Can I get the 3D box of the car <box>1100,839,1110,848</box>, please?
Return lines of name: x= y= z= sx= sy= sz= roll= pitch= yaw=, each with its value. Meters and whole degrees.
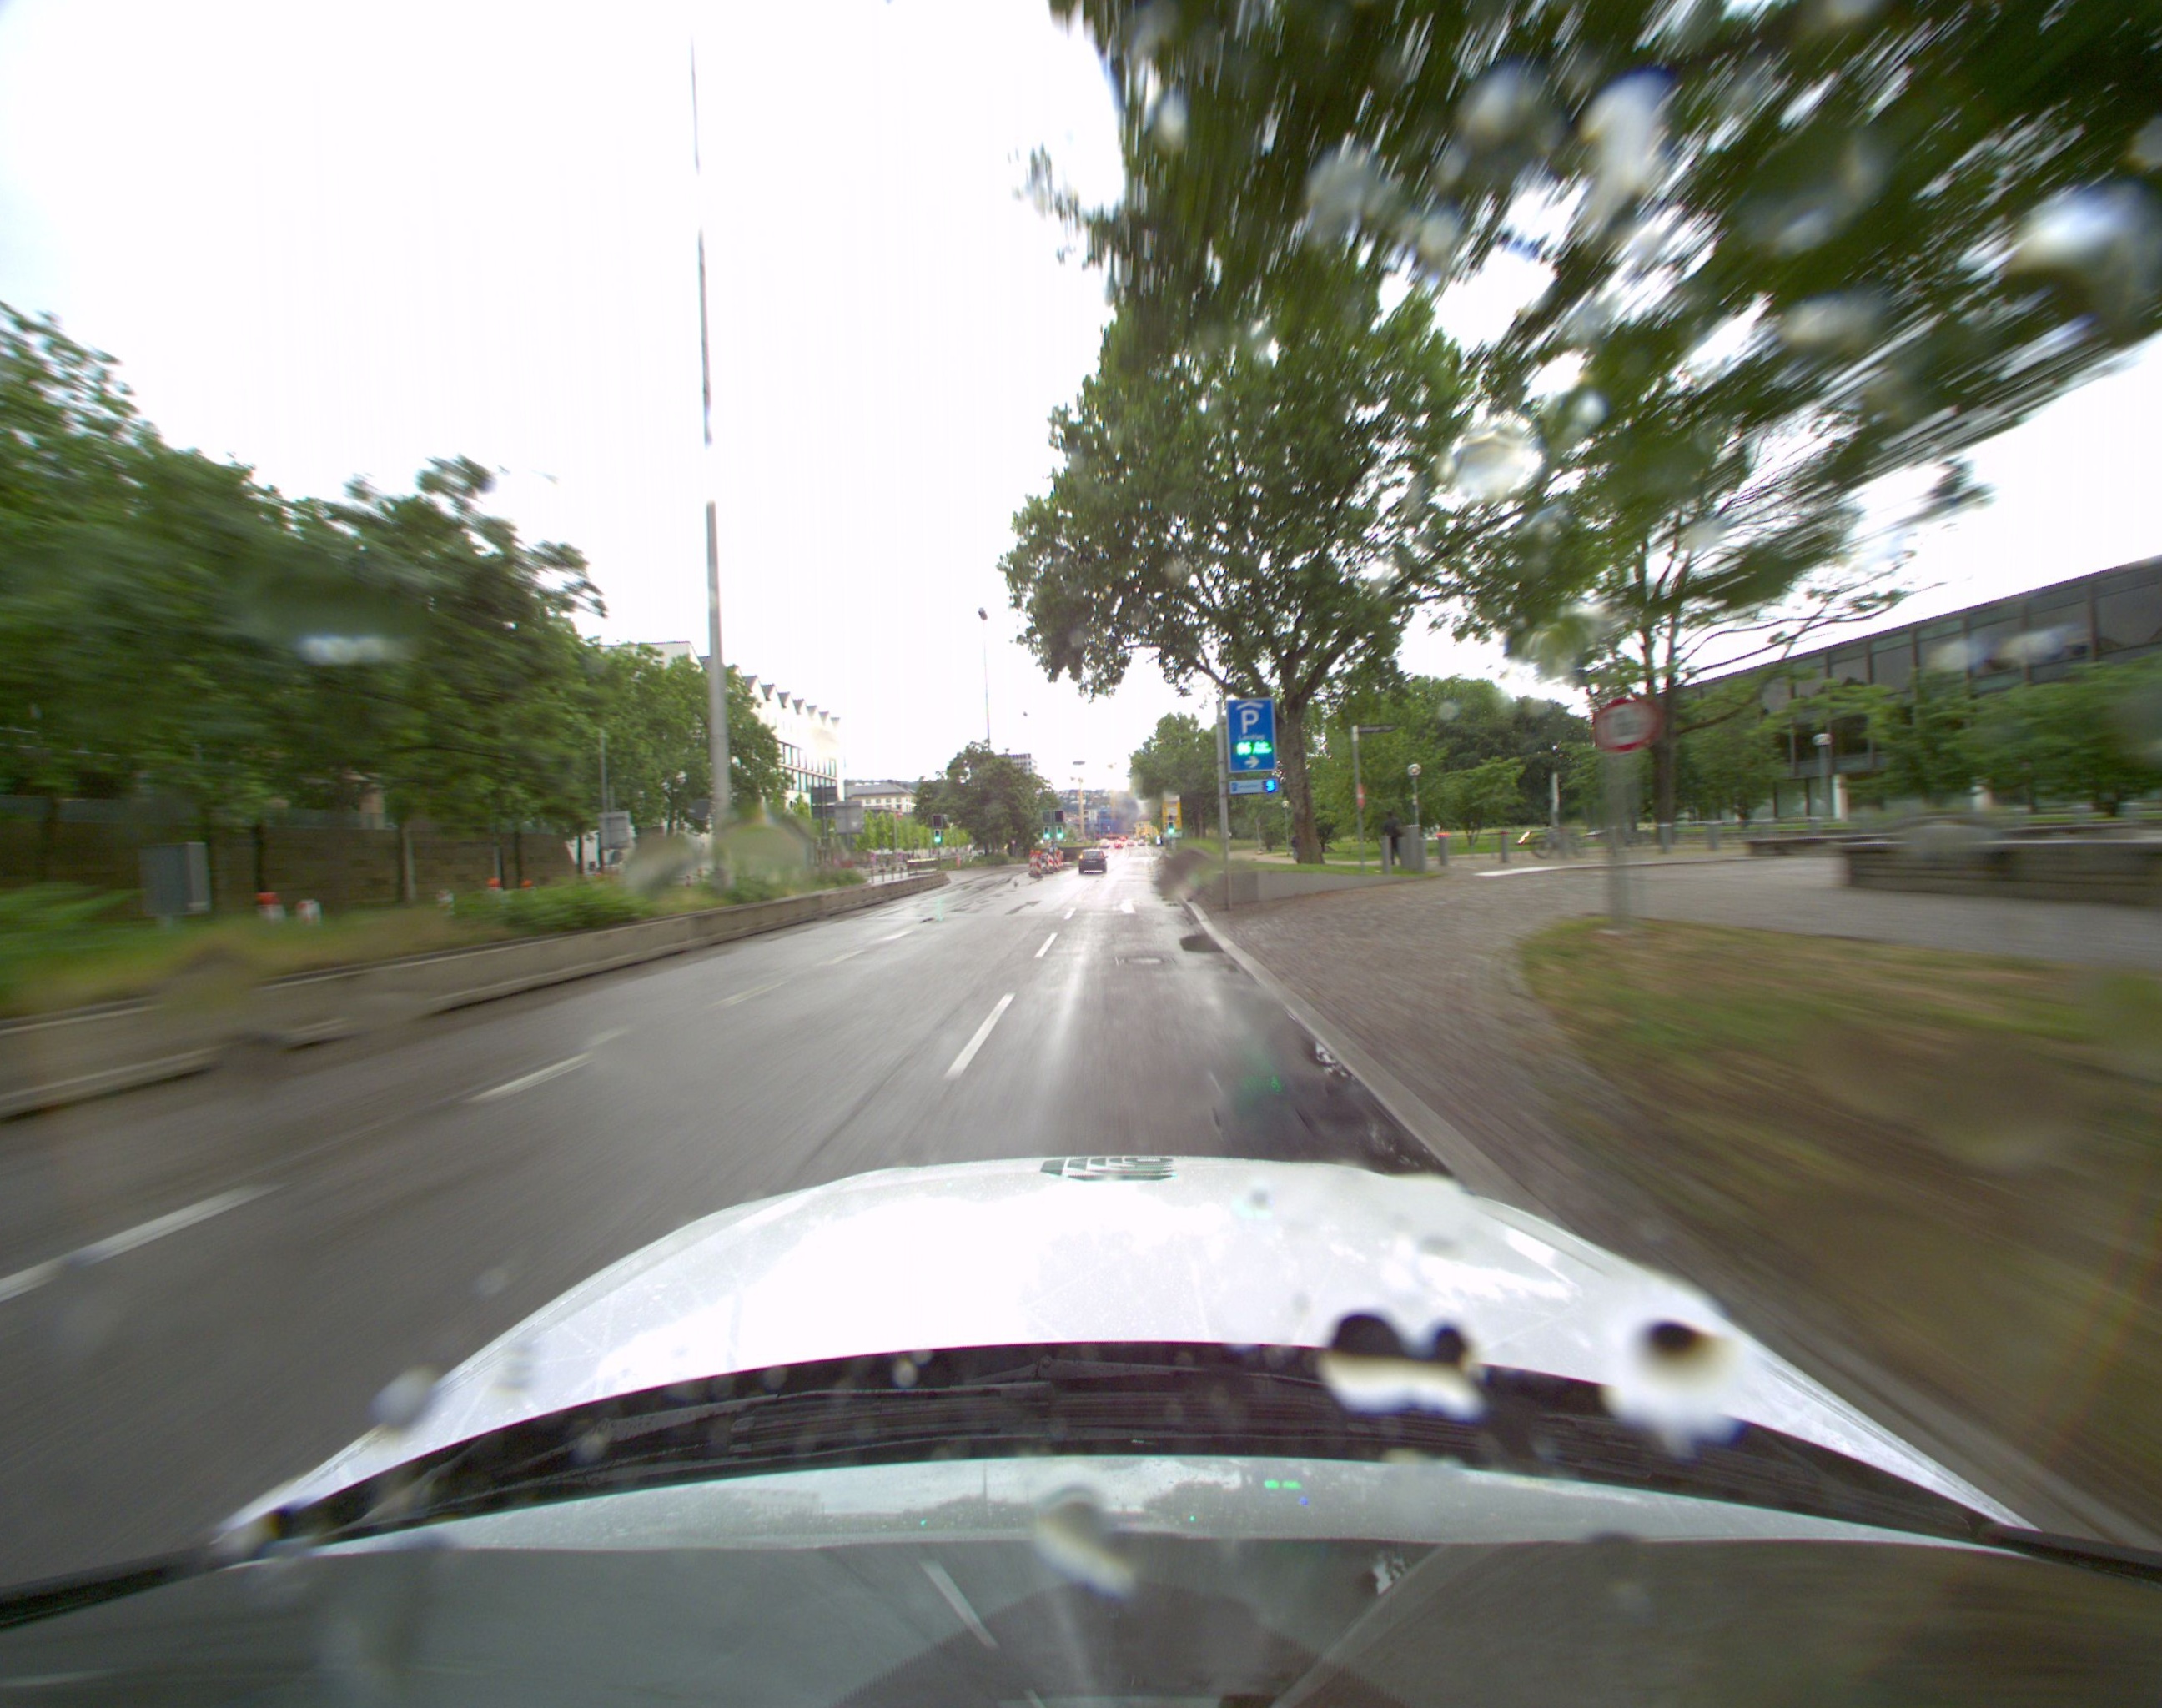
car: x=6.250 y=-2.702 z=212.628 sx=2.208 sy=2.014 sz=4.008 roll=-3 pitch=-1 yaw=7

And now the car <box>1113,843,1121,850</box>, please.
car: x=10.369 y=-2.271 z=236.270 sx=1.985 sy=1.782 sz=4.004 roll=-4 pitch=-1 yaw=4

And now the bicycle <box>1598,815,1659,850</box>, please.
bicycle: x=18.966 y=-0.742 z=28.243 sx=1.638 sy=1.085 sz=0.708 roll=-3 pitch=1 yaw=-4

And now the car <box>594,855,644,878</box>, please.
car: x=-47.594 y=1.287 z=83.958 sx=3.966 sy=2.012 sz=2.005 roll=2 pitch=5 yaw=7

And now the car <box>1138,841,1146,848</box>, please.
car: x=17.288 y=-2.687 z=231.266 sx=1.984 sy=1.599 sz=4.005 roll=-4 pitch=-1 yaw=5

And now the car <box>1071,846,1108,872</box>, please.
car: x=0.499 y=0.317 z=50.691 sx=1.841 sy=1.416 sz=3.831 roll=-4 pitch=-1 yaw=-5

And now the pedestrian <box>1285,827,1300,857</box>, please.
pedestrian: x=12.565 y=-0.701 z=48.443 sx=0.593 sy=1.755 sz=0.725 roll=-4 pitch=1 yaw=0

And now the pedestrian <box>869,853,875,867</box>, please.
pedestrian: x=-29.941 y=0.878 z=116.737 sx=0.543 sy=2.013 sz=0.525 roll=-3 pitch=-1 yaw=-33

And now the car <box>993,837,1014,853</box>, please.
car: x=-8.491 y=-1.007 z=89.433 sx=1.989 sy=1.632 sz=3.996 roll=-2 pitch=0 yaw=-3

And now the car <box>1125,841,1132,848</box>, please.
car: x=13.716 y=-2.730 z=233.869 sx=1.705 sy=1.690 sz=3.854 roll=-4 pitch=-1 yaw=5

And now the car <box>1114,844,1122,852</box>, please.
car: x=9.225 y=-1.381 z=202.244 sx=1.732 sy=1.771 sz=4.003 roll=-4 pitch=-1 yaw=3

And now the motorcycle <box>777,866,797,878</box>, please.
motorcycle: x=-30.081 y=1.861 z=83.216 sx=1.843 sy=1.154 sz=0.423 roll=-3 pitch=0 yaw=-26

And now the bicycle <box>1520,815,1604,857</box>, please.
bicycle: x=14.607 y=-0.544 z=24.765 sx=2.033 sy=1.173 sz=0.957 roll=-3 pitch=1 yaw=-9

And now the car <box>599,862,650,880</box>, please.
car: x=-46.011 y=1.686 z=82.145 sx=3.975 sy=1.596 sz=1.999 roll=-3 pitch=0 yaw=-1

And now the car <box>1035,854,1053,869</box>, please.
car: x=-5.154 y=1.023 z=113.455 sx=1.985 sy=1.780 sz=4.004 roll=-3 pitch=0 yaw=3

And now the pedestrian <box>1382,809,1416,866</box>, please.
pedestrian: x=9.904 y=-0.509 z=25.382 sx=0.702 sy=1.718 sz=0.693 roll=-4 pitch=0 yaw=2

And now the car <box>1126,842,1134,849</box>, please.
car: x=13.840 y=-2.374 z=228.648 sx=1.981 sy=2.013 sz=4.000 roll=-4 pitch=-1 yaw=1
